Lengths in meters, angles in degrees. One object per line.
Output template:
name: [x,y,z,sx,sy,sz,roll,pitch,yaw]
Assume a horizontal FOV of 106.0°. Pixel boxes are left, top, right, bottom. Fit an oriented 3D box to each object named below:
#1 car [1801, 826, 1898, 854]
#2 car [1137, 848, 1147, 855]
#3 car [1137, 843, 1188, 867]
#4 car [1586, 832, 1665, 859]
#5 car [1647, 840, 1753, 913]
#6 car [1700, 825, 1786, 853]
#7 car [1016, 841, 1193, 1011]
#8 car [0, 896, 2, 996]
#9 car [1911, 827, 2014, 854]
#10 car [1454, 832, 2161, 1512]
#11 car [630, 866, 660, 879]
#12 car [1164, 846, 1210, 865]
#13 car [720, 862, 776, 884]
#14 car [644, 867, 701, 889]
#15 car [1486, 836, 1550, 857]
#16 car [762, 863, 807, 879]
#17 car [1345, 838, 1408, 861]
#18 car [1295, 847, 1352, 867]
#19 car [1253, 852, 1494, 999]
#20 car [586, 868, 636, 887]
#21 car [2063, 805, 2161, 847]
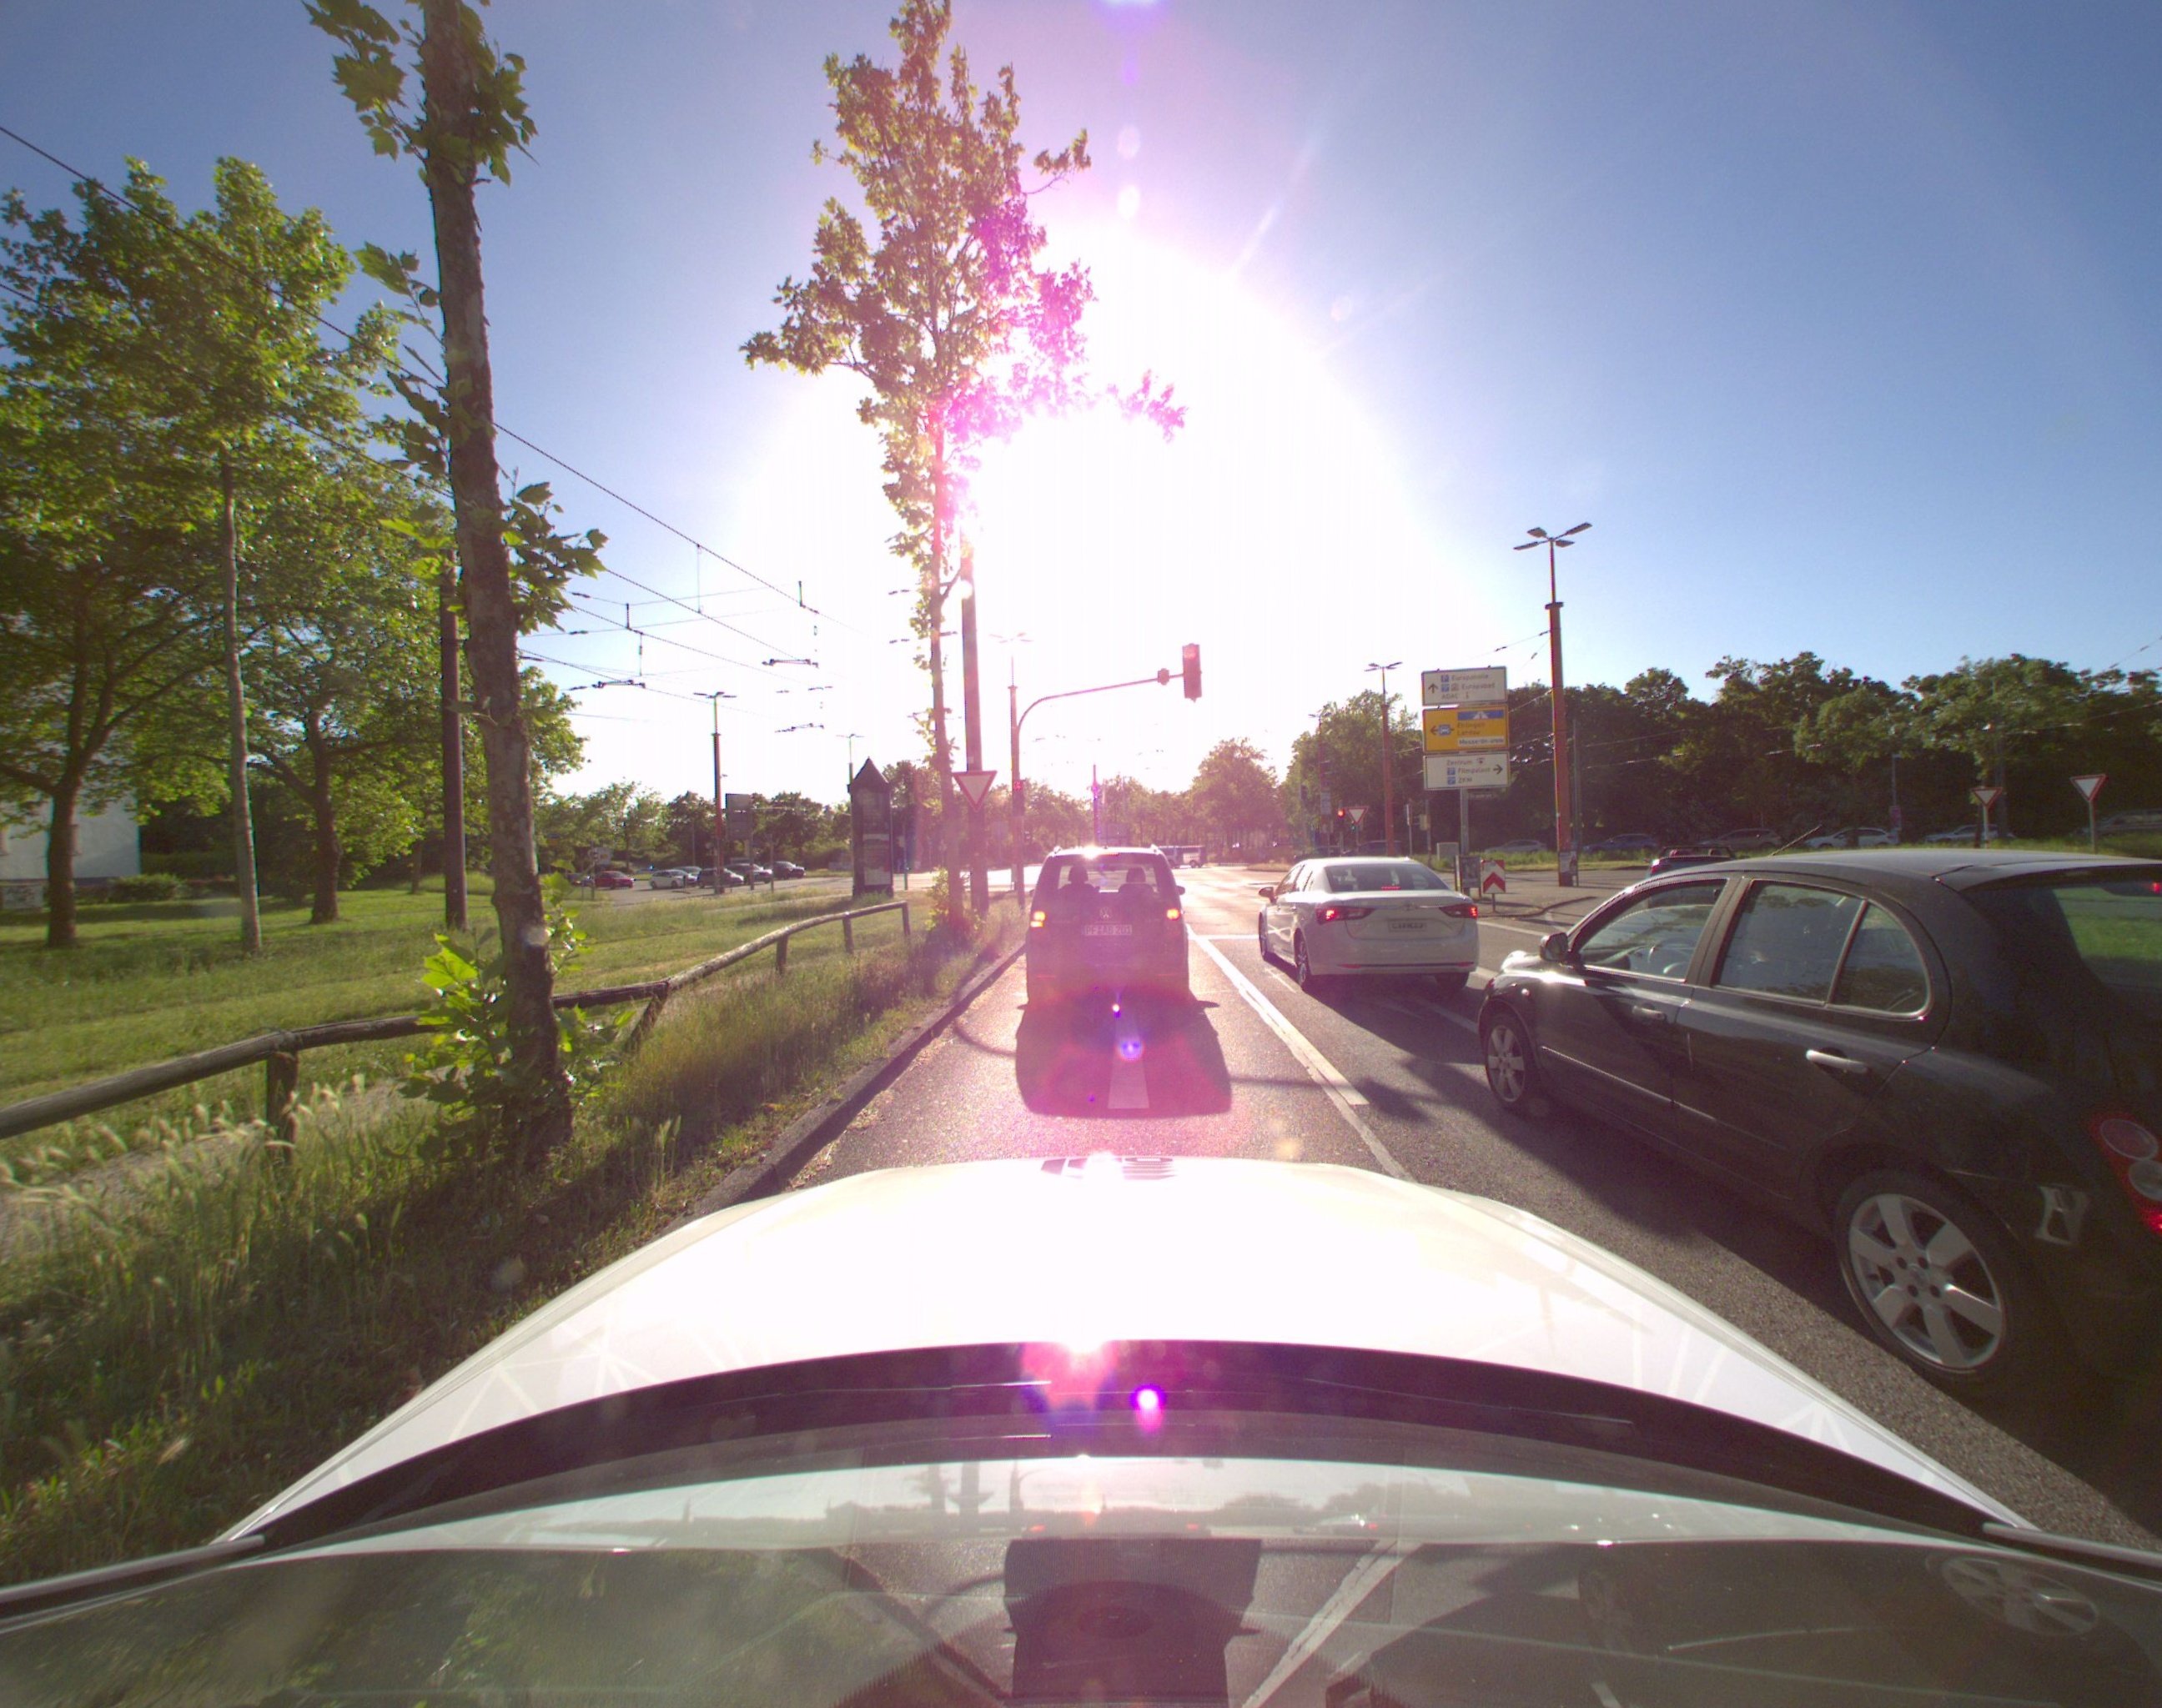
car: [44.775,-0.794,47.539,3.782,1.523,1.706,-2,0,31]
car: [13.940,-0.542,185.020,1.904,1.635,4.010,0,0,9]
car: [6.811,0.101,67.962,3.797,1.890,1.774,0,-1,25]
car: [35.197,-0.538,52.787,4.080,1.598,1.840,-2,0,29]
car: [14.113,0.447,18.605,1.717,1.450,4.158,-2,0,37]
car: [42.988,-0.971,53.006,4.080,1.644,1.864,-2,0,31]
car: [0.288,0.717,9.934,1.694,1.621,3.898,-2,0,1]
car: [-17.497,1.418,10.290,1.798,1.522,4.336,-2,0,4]
car: [51.186,-0.776,47.379,3.700,1.473,1.610,-2,0,28]
car: [3.233,0.695,3.589,1.647,1.500,3.617,-1,0,2]
car: [-57.470,2.409,107.339,4.060,1.656,1.815,-2,0,34]
car: [9.237,0.119,70.745,3.608,1.655,1.690,0,-1,27]
car: [-26.653,1.541,65.188,3.950,1.644,2.012,-2,0,26]
car: [-32.426,1.909,64.638,4.135,1.612,1.880,-2,0,27]
car: [31.269,-0.491,58.297,3.926,1.441,1.697,0,-1,29]
car: [-26.533,1.515,72.852,3.948,1.330,1.709,-2,0,33]
car: [21.884,-0.293,60.286,4.139,1.644,1.770,0,-1,28]
car: [19.438,0.237,65.236,4.082,1.511,1.834,0,-1,28]
car: [3.324,0.711,10.140,1.713,1.438,4.202,-1,0,3]
car: [-39.419,2.000,68.246,3.949,1.513,1.743,-2,0,27]
car: [54.607,-1.448,42.039,4.526,2.013,2.013,-2,0,33]
